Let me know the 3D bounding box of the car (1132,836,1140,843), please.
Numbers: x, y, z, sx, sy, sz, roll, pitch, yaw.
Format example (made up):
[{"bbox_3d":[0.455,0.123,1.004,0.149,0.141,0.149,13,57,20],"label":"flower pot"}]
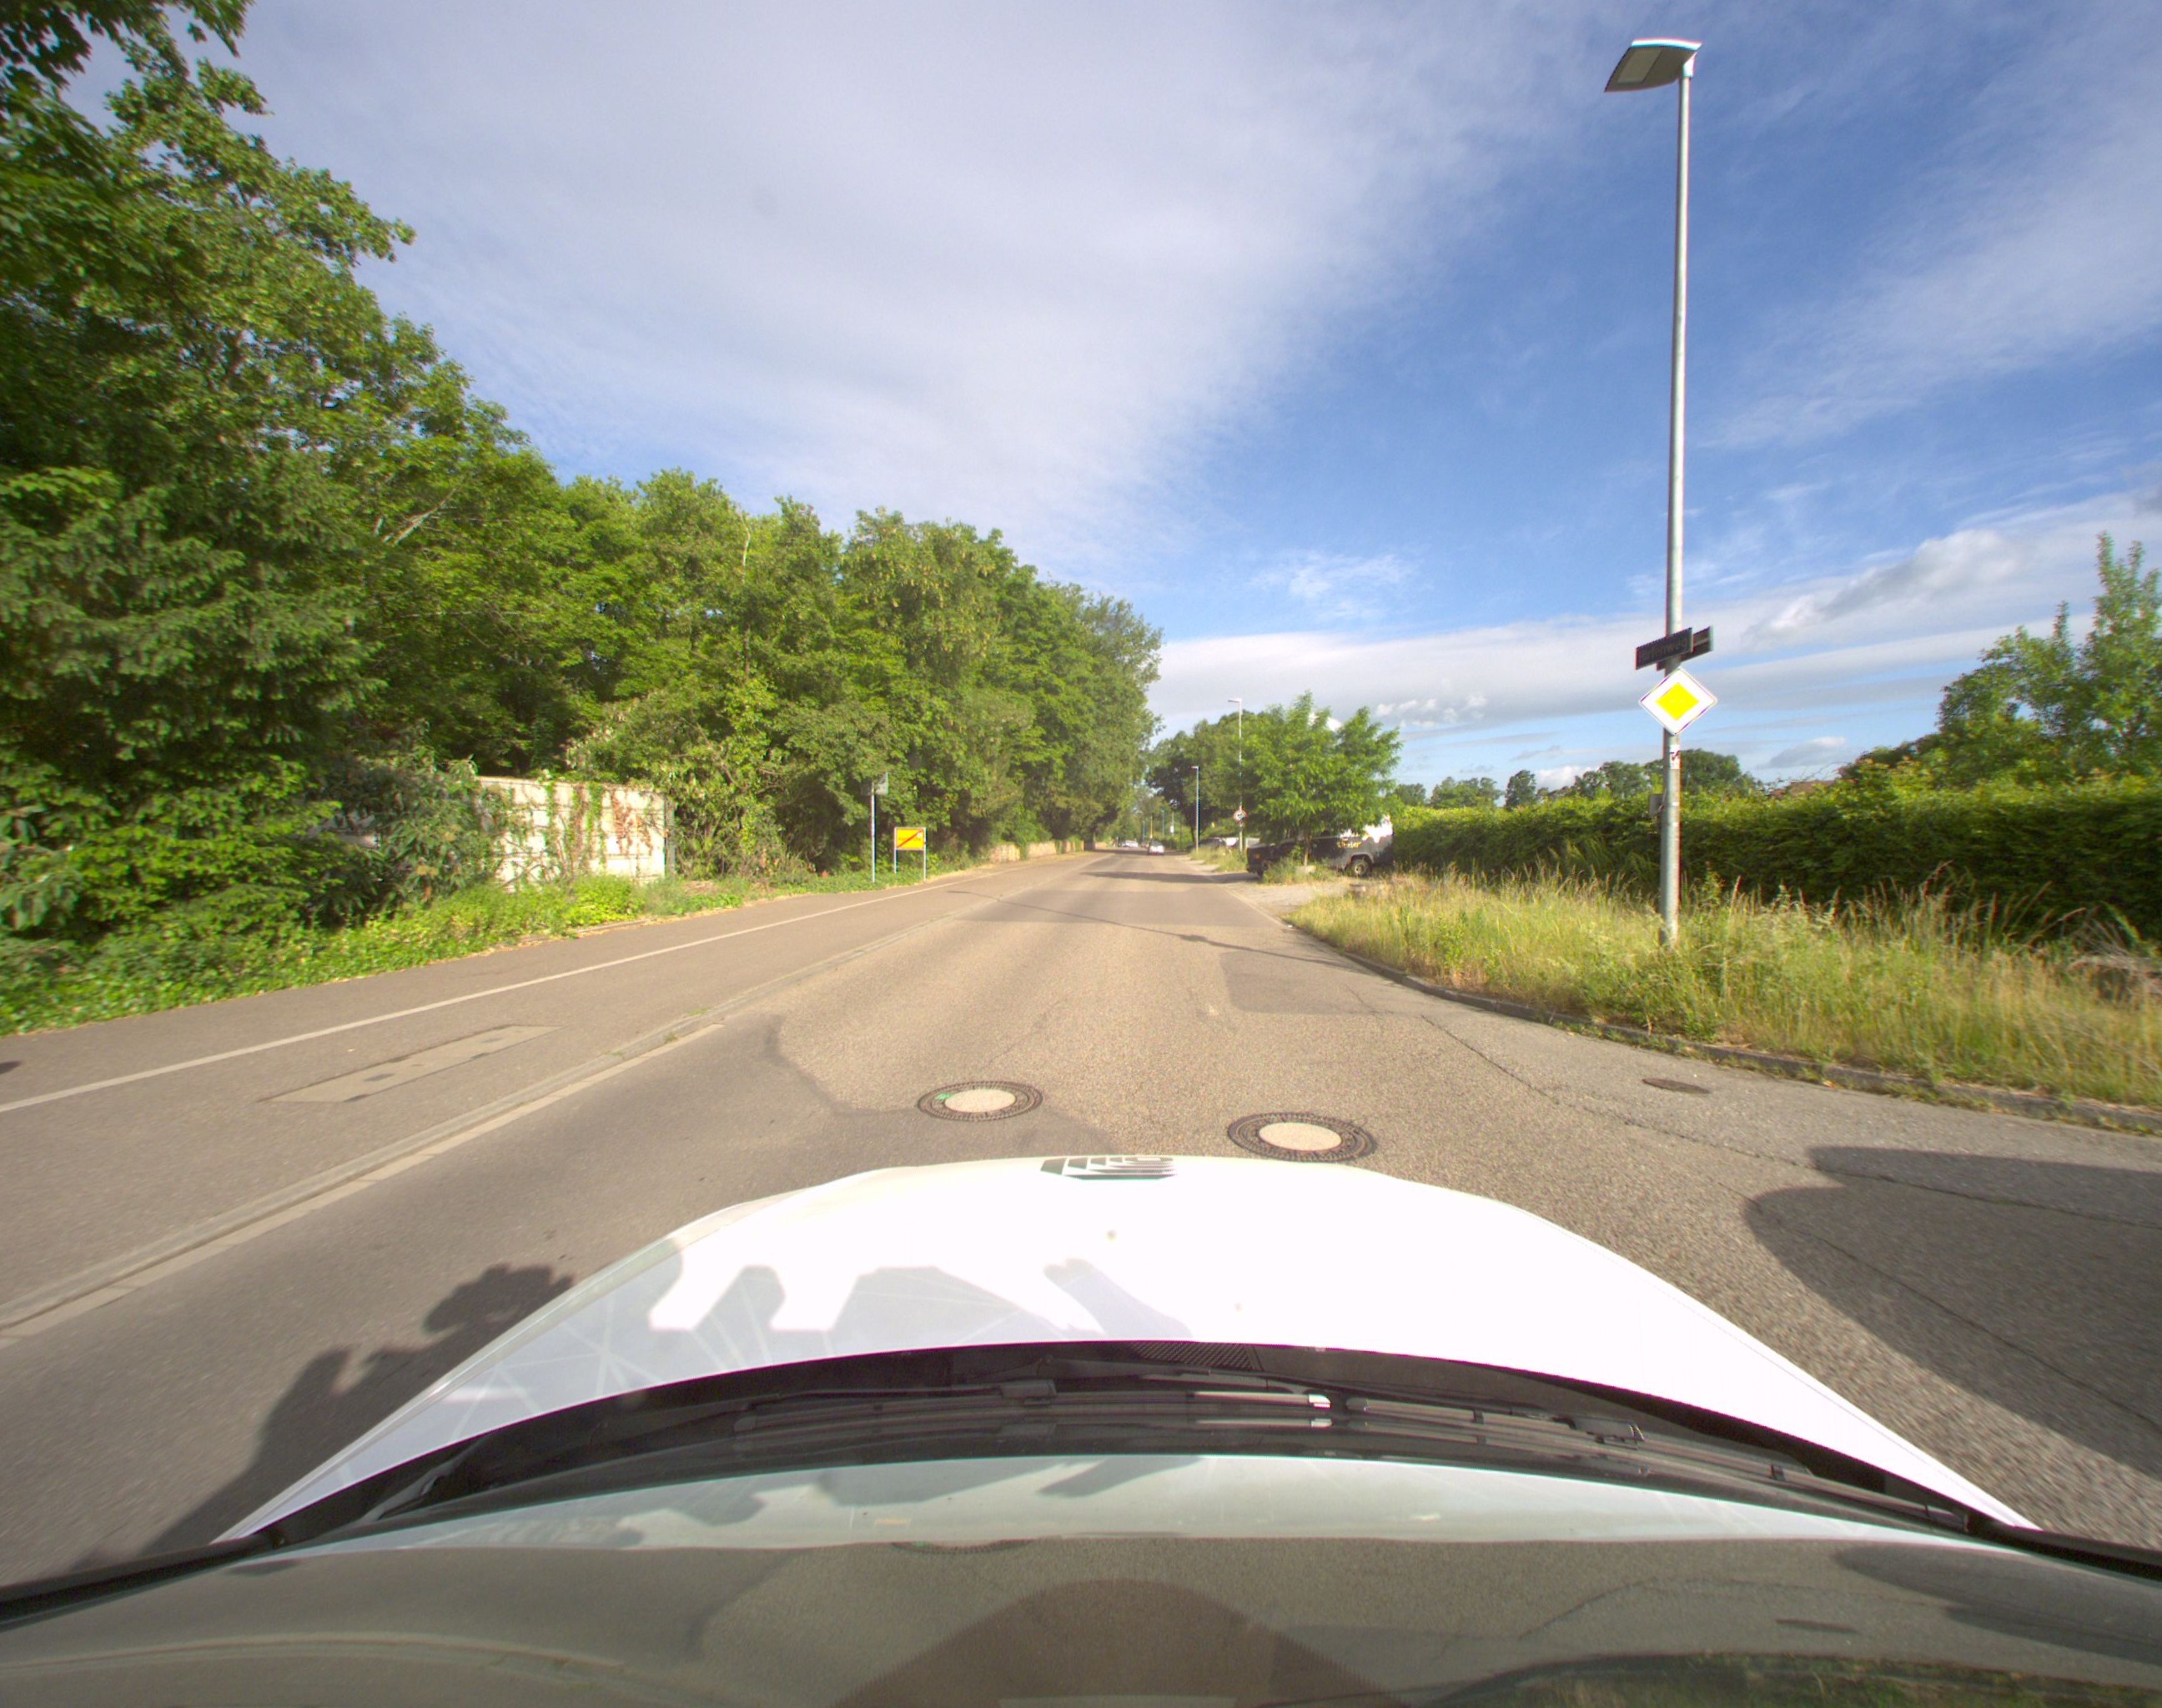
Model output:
[{"bbox_3d":[12.624,-3.344,187.294,1.879,1.372,4.057,0,1,2],"label":"car"}]

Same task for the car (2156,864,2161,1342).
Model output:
[{"bbox_3d":[5.193,0.740,1.117,4.334,1.443,1.938,-1,1,11],"label":"car"}]

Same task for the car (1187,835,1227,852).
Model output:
[{"bbox_3d":[14.239,-1.227,92.255,4.382,1.646,2.003,-3,1,5],"label":"car"}]

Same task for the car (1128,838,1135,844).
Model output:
[{"bbox_3d":[13.415,-3.484,217.528,1.878,1.613,4.059,0,1,4],"label":"car"}]

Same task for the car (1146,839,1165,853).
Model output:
[{"bbox_3d":[7.611,-0.810,83.808,1.878,1.372,4.059,0,1,4],"label":"car"}]

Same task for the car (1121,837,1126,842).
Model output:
[{"bbox_3d":[13.441,-4.643,260.034,1.571,1.452,3.402,-1,1,3],"label":"car"}]

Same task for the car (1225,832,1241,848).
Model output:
[{"bbox_3d":[16.825,-1.560,90.085,1.341,1.632,4.129,-2,1,15],"label":"car"}]

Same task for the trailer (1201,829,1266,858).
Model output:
[{"bbox_3d":[10.088,-0.718,54.073,4.128,1.834,1.921,-1,1,8],"label":"trailer"}]

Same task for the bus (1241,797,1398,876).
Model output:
[{"bbox_3d":[8.877,-0.657,30.664,5.345,2.746,2.070,-1,2,1],"label":"bus"}]
